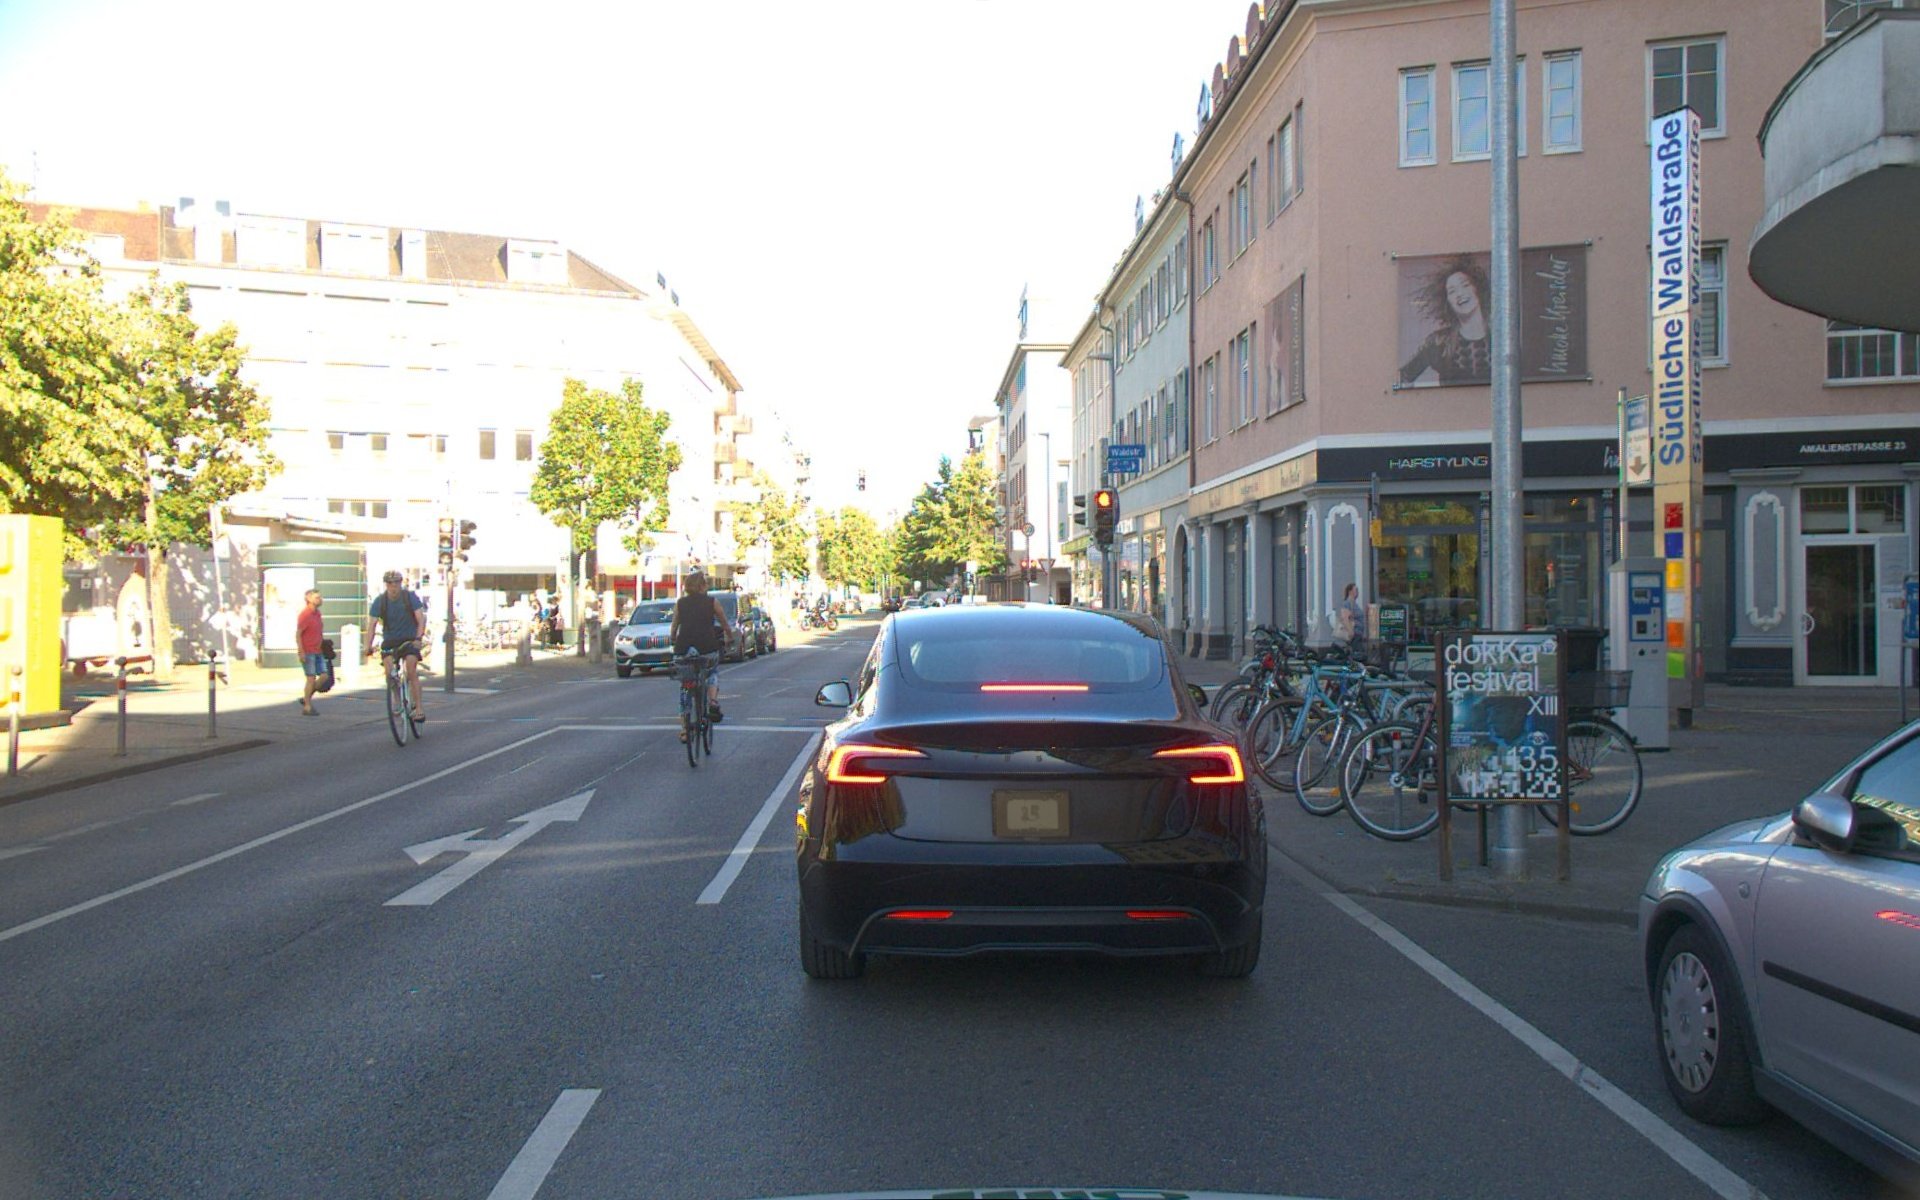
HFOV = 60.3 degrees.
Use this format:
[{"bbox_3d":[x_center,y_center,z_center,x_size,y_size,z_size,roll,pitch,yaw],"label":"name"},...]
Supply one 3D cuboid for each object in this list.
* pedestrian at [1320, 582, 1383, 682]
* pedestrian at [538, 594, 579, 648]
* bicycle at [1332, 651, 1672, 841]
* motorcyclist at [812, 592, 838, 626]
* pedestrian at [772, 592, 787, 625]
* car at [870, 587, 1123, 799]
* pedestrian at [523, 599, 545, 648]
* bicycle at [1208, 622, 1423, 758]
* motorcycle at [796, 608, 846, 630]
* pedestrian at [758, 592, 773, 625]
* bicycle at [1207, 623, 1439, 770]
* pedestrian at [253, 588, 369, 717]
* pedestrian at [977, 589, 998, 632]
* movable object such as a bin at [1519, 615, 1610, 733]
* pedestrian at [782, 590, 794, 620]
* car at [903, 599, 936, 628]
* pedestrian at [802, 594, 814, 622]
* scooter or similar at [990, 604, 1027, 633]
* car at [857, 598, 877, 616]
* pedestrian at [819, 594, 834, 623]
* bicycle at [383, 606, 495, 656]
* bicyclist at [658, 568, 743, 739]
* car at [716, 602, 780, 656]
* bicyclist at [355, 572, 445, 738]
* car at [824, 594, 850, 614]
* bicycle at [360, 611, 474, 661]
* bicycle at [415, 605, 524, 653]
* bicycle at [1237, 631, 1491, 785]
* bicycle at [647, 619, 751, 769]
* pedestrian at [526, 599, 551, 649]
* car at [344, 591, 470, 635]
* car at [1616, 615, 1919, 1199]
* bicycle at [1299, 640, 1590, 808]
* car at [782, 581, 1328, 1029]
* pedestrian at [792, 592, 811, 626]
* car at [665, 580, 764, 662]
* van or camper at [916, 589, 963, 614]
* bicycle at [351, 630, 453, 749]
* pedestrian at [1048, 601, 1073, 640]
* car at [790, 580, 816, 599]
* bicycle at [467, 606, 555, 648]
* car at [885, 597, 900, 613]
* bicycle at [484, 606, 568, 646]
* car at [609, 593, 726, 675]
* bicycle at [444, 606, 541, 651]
[{"bbox_3d":[6.283,0.507,26.540,0.710,1.576,0.788,1,-1,38],"label":"pedestrian"},{"bbox_3d":[-12.489,0.658,51.506,1.072,1.639,1.265,1,0,-6],"label":"pedestrian"},{"bbox_3d":[3.270,0.873,10.086,1.844,1.062,0.653,-1,0,0],"label":"bicycle"},{"bbox_3d":[-6.673,0.441,81.705,1.096,1.662,0.770,1,-1,-26],"label":"motorcyclist"},{"bbox_3d":[-10.626,0.493,97.127,0.721,1.900,0.787,1,-1,-17],"label":"pedestrian"},{"bbox_3d":[0.235,0.684,14.191,1.812,1.507,4.450,1,0,-1],"label":"car"},{"bbox_3d":[-15.860,0.876,61.627,0.650,1.790,0.648,1,-1,-27],"label":"pedestrian"},{"bbox_3d":[3.154,0.789,14.772,1.776,1.172,0.653,0,0,0],"label":"bicycle"},{"bbox_3d":[-6.842,0.939,81.609,2.348,1.054,0.777,1,0,-26],"label":"motorcycle"},{"bbox_3d":[-11.362,0.479,96.696,0.721,1.900,0.787,1,-1,-17],"label":"pedestrian"},{"bbox_3d":[2.970,0.781,13.635,1.776,1.172,0.653,0,0,0],"label":"bicycle"},{"bbox_3d":[-9.111,0.726,23.271,1.086,1.750,1.062,1,0,11],"label":"pedestrian"},{"bbox_3d":[1.144,0.433,68.110,0.649,1.790,0.649,1,-1,-24],"label":"pedestrian"},{"bbox_3d":[6.034,0.730,16.537,0.623,1.122,0.728,-2,0,3],"label":"movable object such as a bin"},{"bbox_3d":[-10.775,0.309,103.710,0.681,1.900,0.658,1,-1,-6],"label":"pedestrian"},{"bbox_3d":[-2.619,0.871,106.111,1.995,1.819,4.004,0,0,-3],"label":"car"},{"bbox_3d":[-10.514,0.568,114.567,0.683,1.900,0.907,1,-1,-12],"label":"pedestrian"},{"bbox_3d":[2.020,0.758,68.564,1.317,1.154,0.803,1,-1,-25],"label":"scooter or similar"},{"bbox_3d":[-10.510,0.823,186.962,2.089,2.004,4.133,0,0,-1],"label":"car"},{"bbox_3d":[-8.980,0.581,111.440,0.763,1.900,1.003,1,-1,-19],"label":"pedestrian"},{"bbox_3d":[-14.132,0.841,44.919,2.725,1.296,0.932,1,0,-4],"label":"bicycle"},{"bbox_3d":[-2.376,0.480,15.229,0.594,1.510,0.958,1,0,0],"label":"bicyclist"},{"bbox_3d":[-6.344,0.851,49.687,1.431,1.455,3.605,-3,0,-1],"label":"car"},{"bbox_3d":[-6.157,0.592,18.217,0.687,1.739,0.809,-3,0,-6],"label":"bicyclist"},{"bbox_3d":[-12.353,0.390,166.258,2.365,2.004,4.677,0,0,-1],"label":"car"},{"bbox_3d":[-13.958,0.923,42.581,2.607,1.216,0.942,1,0,-4],"label":"bicycle"},{"bbox_3d":[-14.008,0.828,47.320,2.818,1.292,0.942,1,0,-4],"label":"bicycle"},{"bbox_3d":[3.041,0.803,12.562,1.776,1.121,0.653,0,0,0],"label":"bicycle"},{"bbox_3d":[-2.387,0.828,15.335,0.615,1.244,2.001,1,0,0],"label":"bicycle"},{"bbox_3d":[-15.531,0.878,60.934,0.831,1.790,0.702,1,-1,-20],"label":"pedestrian"},{"bbox_3d":[-24.088,0.550,72.047,5.124,1.899,1.871,0,0,-23],"label":"car"},{"bbox_3d":[2.913,0.779,3.533,1.551,1.451,3.579,1,0,-1],"label":"car"},{"bbox_3d":[3.241,0.820,11.158,1.776,1.078,0.653,0,0,0],"label":"bicycle"},{"bbox_3d":[0.291,0.698,7.767,1.812,1.472,4.450,1,0,-1],"label":"car"},{"bbox_3d":[-9.057,0.510,94.513,0.719,1.900,0.790,1,-1,28],"label":"pedestrian"},{"bbox_3d":[-6.239,0.503,42.561,1.906,1.981,4.819,0,0,-1],"label":"car"},{"bbox_3d":[-2.076,0.165,167.515,4.752,2.481,1.850,0,0,-1],"label":"van or camper"},{"bbox_3d":[-6.145,0.953,18.318,0.604,1.182,1.955,-3,0,-6],"label":"bicycle"},{"bbox_3d":[4.310,0.878,70.887,0.800,1.637,0.700,1,-1,-38],"label":"pedestrian"},{"bbox_3d":[-17.026,-1.135,179.401,2.228,2.049,4.717,1,0,0],"label":"car"},{"bbox_3d":[-14.069,0.847,51.913,2.491,1.273,0.942,1,0,-4],"label":"bicycle"},{"bbox_3d":[-8.132,0.619,199.673,1.854,1.845,3.923,1,0,-2],"label":"car"},{"bbox_3d":[-14.235,0.855,54.335,2.491,1.273,0.942,1,0,-4],"label":"bicycle"},{"bbox_3d":[-6.331,0.708,36.233,1.788,1.592,4.299,-3,0,-1],"label":"car"},{"bbox_3d":[-14.018,0.843,49.638,2.609,1.281,0.942,1,0,-4],"label":"bicycle"}]
